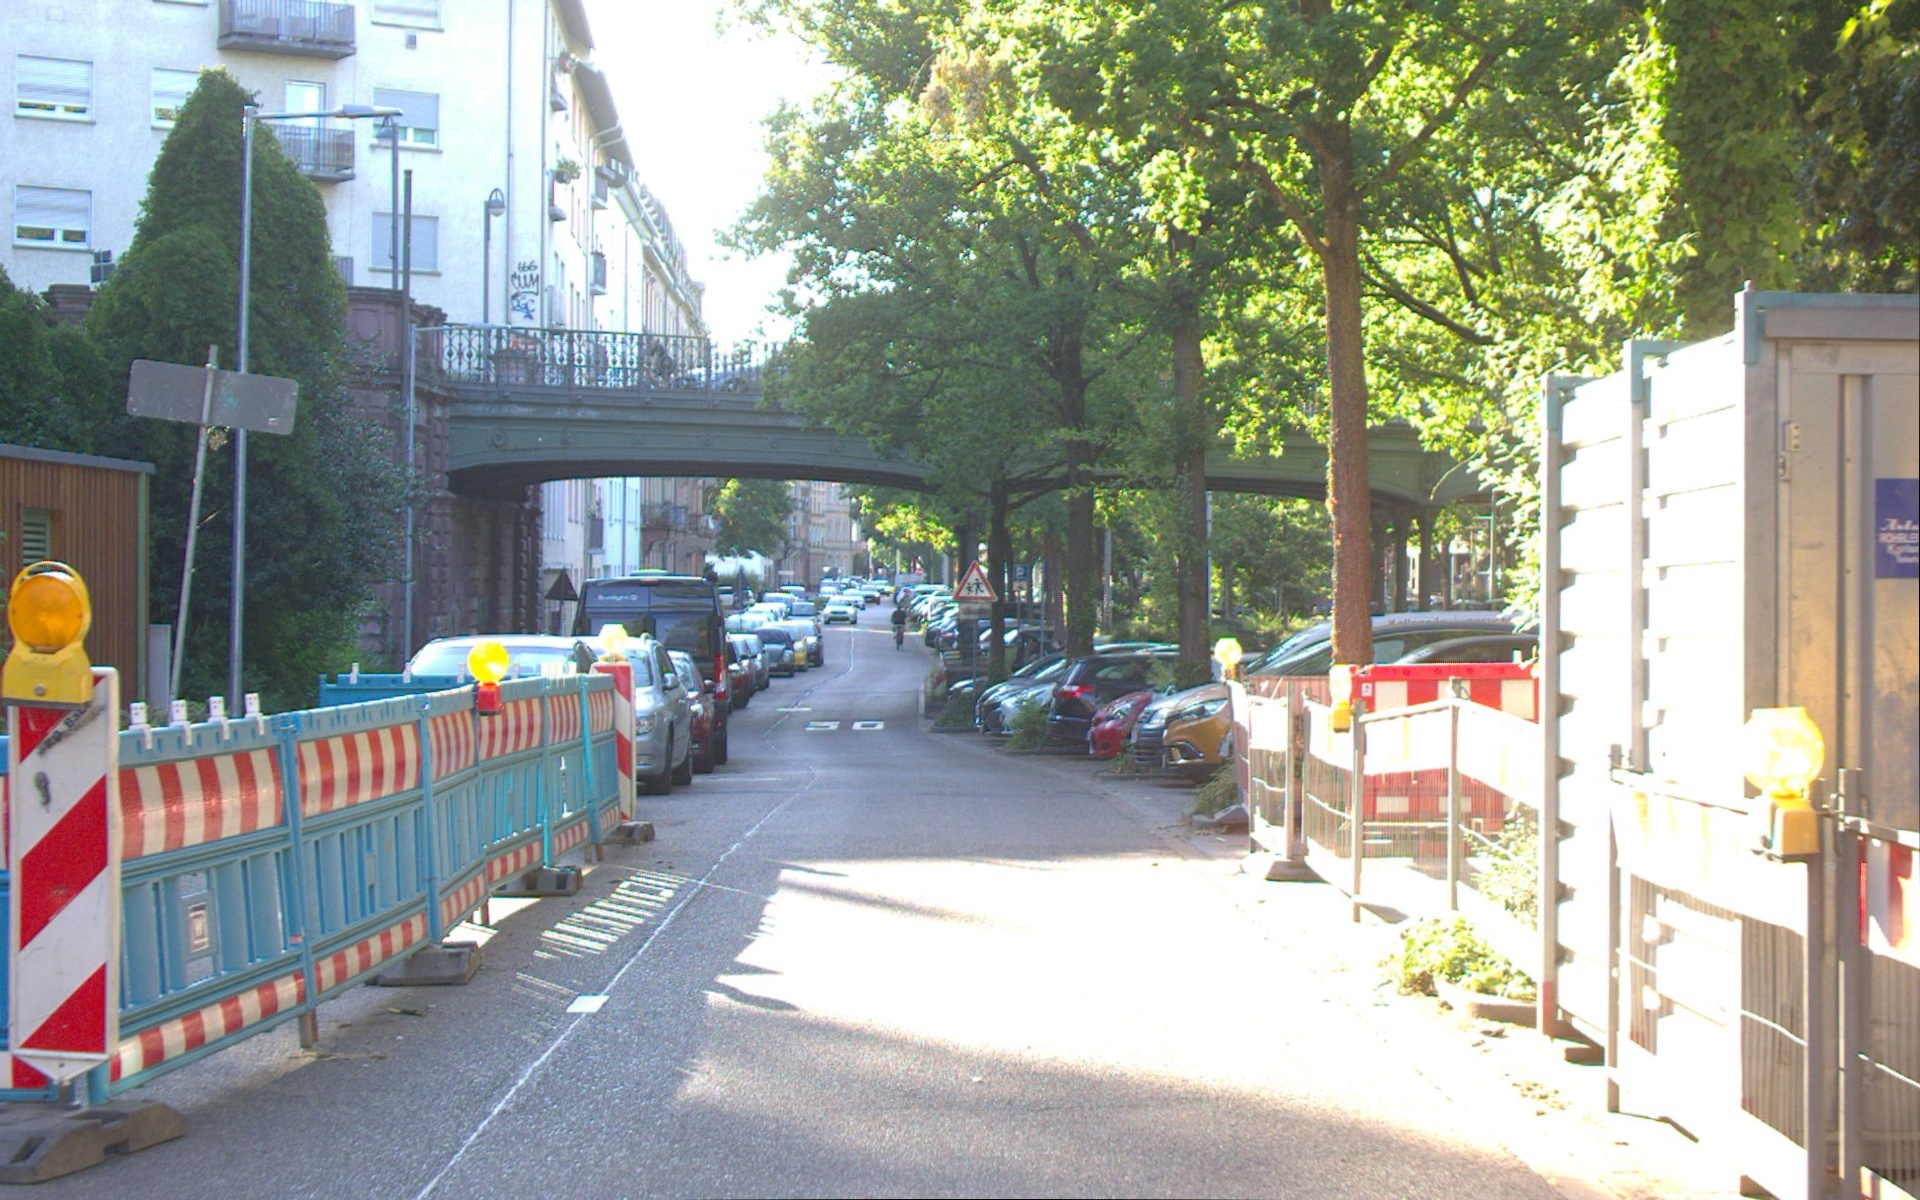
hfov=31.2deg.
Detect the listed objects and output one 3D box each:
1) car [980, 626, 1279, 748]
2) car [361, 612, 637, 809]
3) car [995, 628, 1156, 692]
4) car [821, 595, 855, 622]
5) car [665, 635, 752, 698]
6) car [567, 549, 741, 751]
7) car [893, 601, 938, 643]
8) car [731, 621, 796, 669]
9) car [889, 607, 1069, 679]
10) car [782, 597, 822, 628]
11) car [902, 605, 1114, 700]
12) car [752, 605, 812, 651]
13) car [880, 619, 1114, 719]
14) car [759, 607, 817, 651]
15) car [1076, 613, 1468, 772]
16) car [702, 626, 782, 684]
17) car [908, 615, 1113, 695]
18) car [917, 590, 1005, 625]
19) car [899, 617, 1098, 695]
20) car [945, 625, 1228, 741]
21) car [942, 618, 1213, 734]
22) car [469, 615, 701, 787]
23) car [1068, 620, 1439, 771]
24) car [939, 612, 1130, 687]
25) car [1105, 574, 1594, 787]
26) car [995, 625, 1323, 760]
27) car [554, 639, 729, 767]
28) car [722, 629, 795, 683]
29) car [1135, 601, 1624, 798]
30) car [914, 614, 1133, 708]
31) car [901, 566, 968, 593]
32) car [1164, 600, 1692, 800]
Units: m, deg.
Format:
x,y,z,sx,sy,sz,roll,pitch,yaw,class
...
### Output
x,y,z,sx,sy,sz,roll,pitch,yaw,class
2.580,1.353,53.162,4.387,1.696,1.917,2,-2,-3,car
-3.531,0.841,26.968,1.715,1.413,4.106,-1,-1,-2,car
3.232,1.689,96.700,4.387,1.604,1.781,2,-2,-1,car
-6.784,0.497,191.544,1.812,1.393,3.975,-1,-1,-2,car
-5.760,1.529,79.062,1.812,1.393,3.975,-1,-1,-2,car
-4.075,0.693,46.603,2.047,2.489,5.697,2,-1,-3,car
-1.815,0.933,141.665,1.775,1.604,4.401,2,-1,-1,car
-5.896,1.366,103.504,1.812,1.393,3.975,-1,-1,-2,car
0.458,1.095,86.480,4.387,1.604,1.781,2,-2,-3,car
-7.510,0.598,163.651,1.812,1.393,3.975,-1,-1,-2,car
1.014,1.139,74.029,4.387,1.855,1.917,2,-2,-3,car
-5.608,0.892,108.649,1.812,1.393,3.975,-1,-1,-2,car
0.691,1.358,67.140,4.387,1.779,1.917,2,-2,-3,car
-5.682,0.988,113.843,1.812,1.393,3.975,-1,-1,-2,car
3.679,1.107,41.050,4.387,1.696,1.917,2,-2,-3,car
-5.381,1.364,85.211,1.812,1.393,3.975,-1,-1,-2,car
1.104,1.240,76.638,4.387,1.604,1.781,2,-2,-3,car
0.053,0.381,175.125,4.387,1.604,1.781,2,-2,-1,car
0.864,1.293,78.680,4.387,1.604,1.781,2,-2,-3,car
2.029,1.353,55.916,4.387,1.696,1.917,2,-2,-3,car
1.962,1.294,58.444,4.387,1.779,1.917,2,-2,-3,car
-3.501,0.909,32.798,1.812,1.435,4.350,2,0,-2,car
3.655,1.207,43.352,4.387,1.696,1.917,2,-2,-3,car
1.761,1.191,82.285,4.387,1.604,1.781,2,-2,-3,car
4.018,0.855,35.932,4.741,1.990,1.917,2,-2,-4,car
2.766,1.310,48.521,4.387,1.696,1.917,2,-2,-3,car
-3.788,1.220,41.485,1.812,1.448,4.350,-1,-1,-2,car
-5.352,1.503,91.562,1.812,1.393,3.975,-1,-1,-2,car
4.006,0.965,33.298,4.387,1.696,1.917,2,-2,-3,car
1.289,1.282,71.747,4.387,1.779,1.917,2,-2,-3,car
-1.700,-1.346,226.979,4.387,1.604,1.781,2,-2,-1,car
4.179,0.911,31.124,4.386,1.601,1.917,2,-2,-4,car
